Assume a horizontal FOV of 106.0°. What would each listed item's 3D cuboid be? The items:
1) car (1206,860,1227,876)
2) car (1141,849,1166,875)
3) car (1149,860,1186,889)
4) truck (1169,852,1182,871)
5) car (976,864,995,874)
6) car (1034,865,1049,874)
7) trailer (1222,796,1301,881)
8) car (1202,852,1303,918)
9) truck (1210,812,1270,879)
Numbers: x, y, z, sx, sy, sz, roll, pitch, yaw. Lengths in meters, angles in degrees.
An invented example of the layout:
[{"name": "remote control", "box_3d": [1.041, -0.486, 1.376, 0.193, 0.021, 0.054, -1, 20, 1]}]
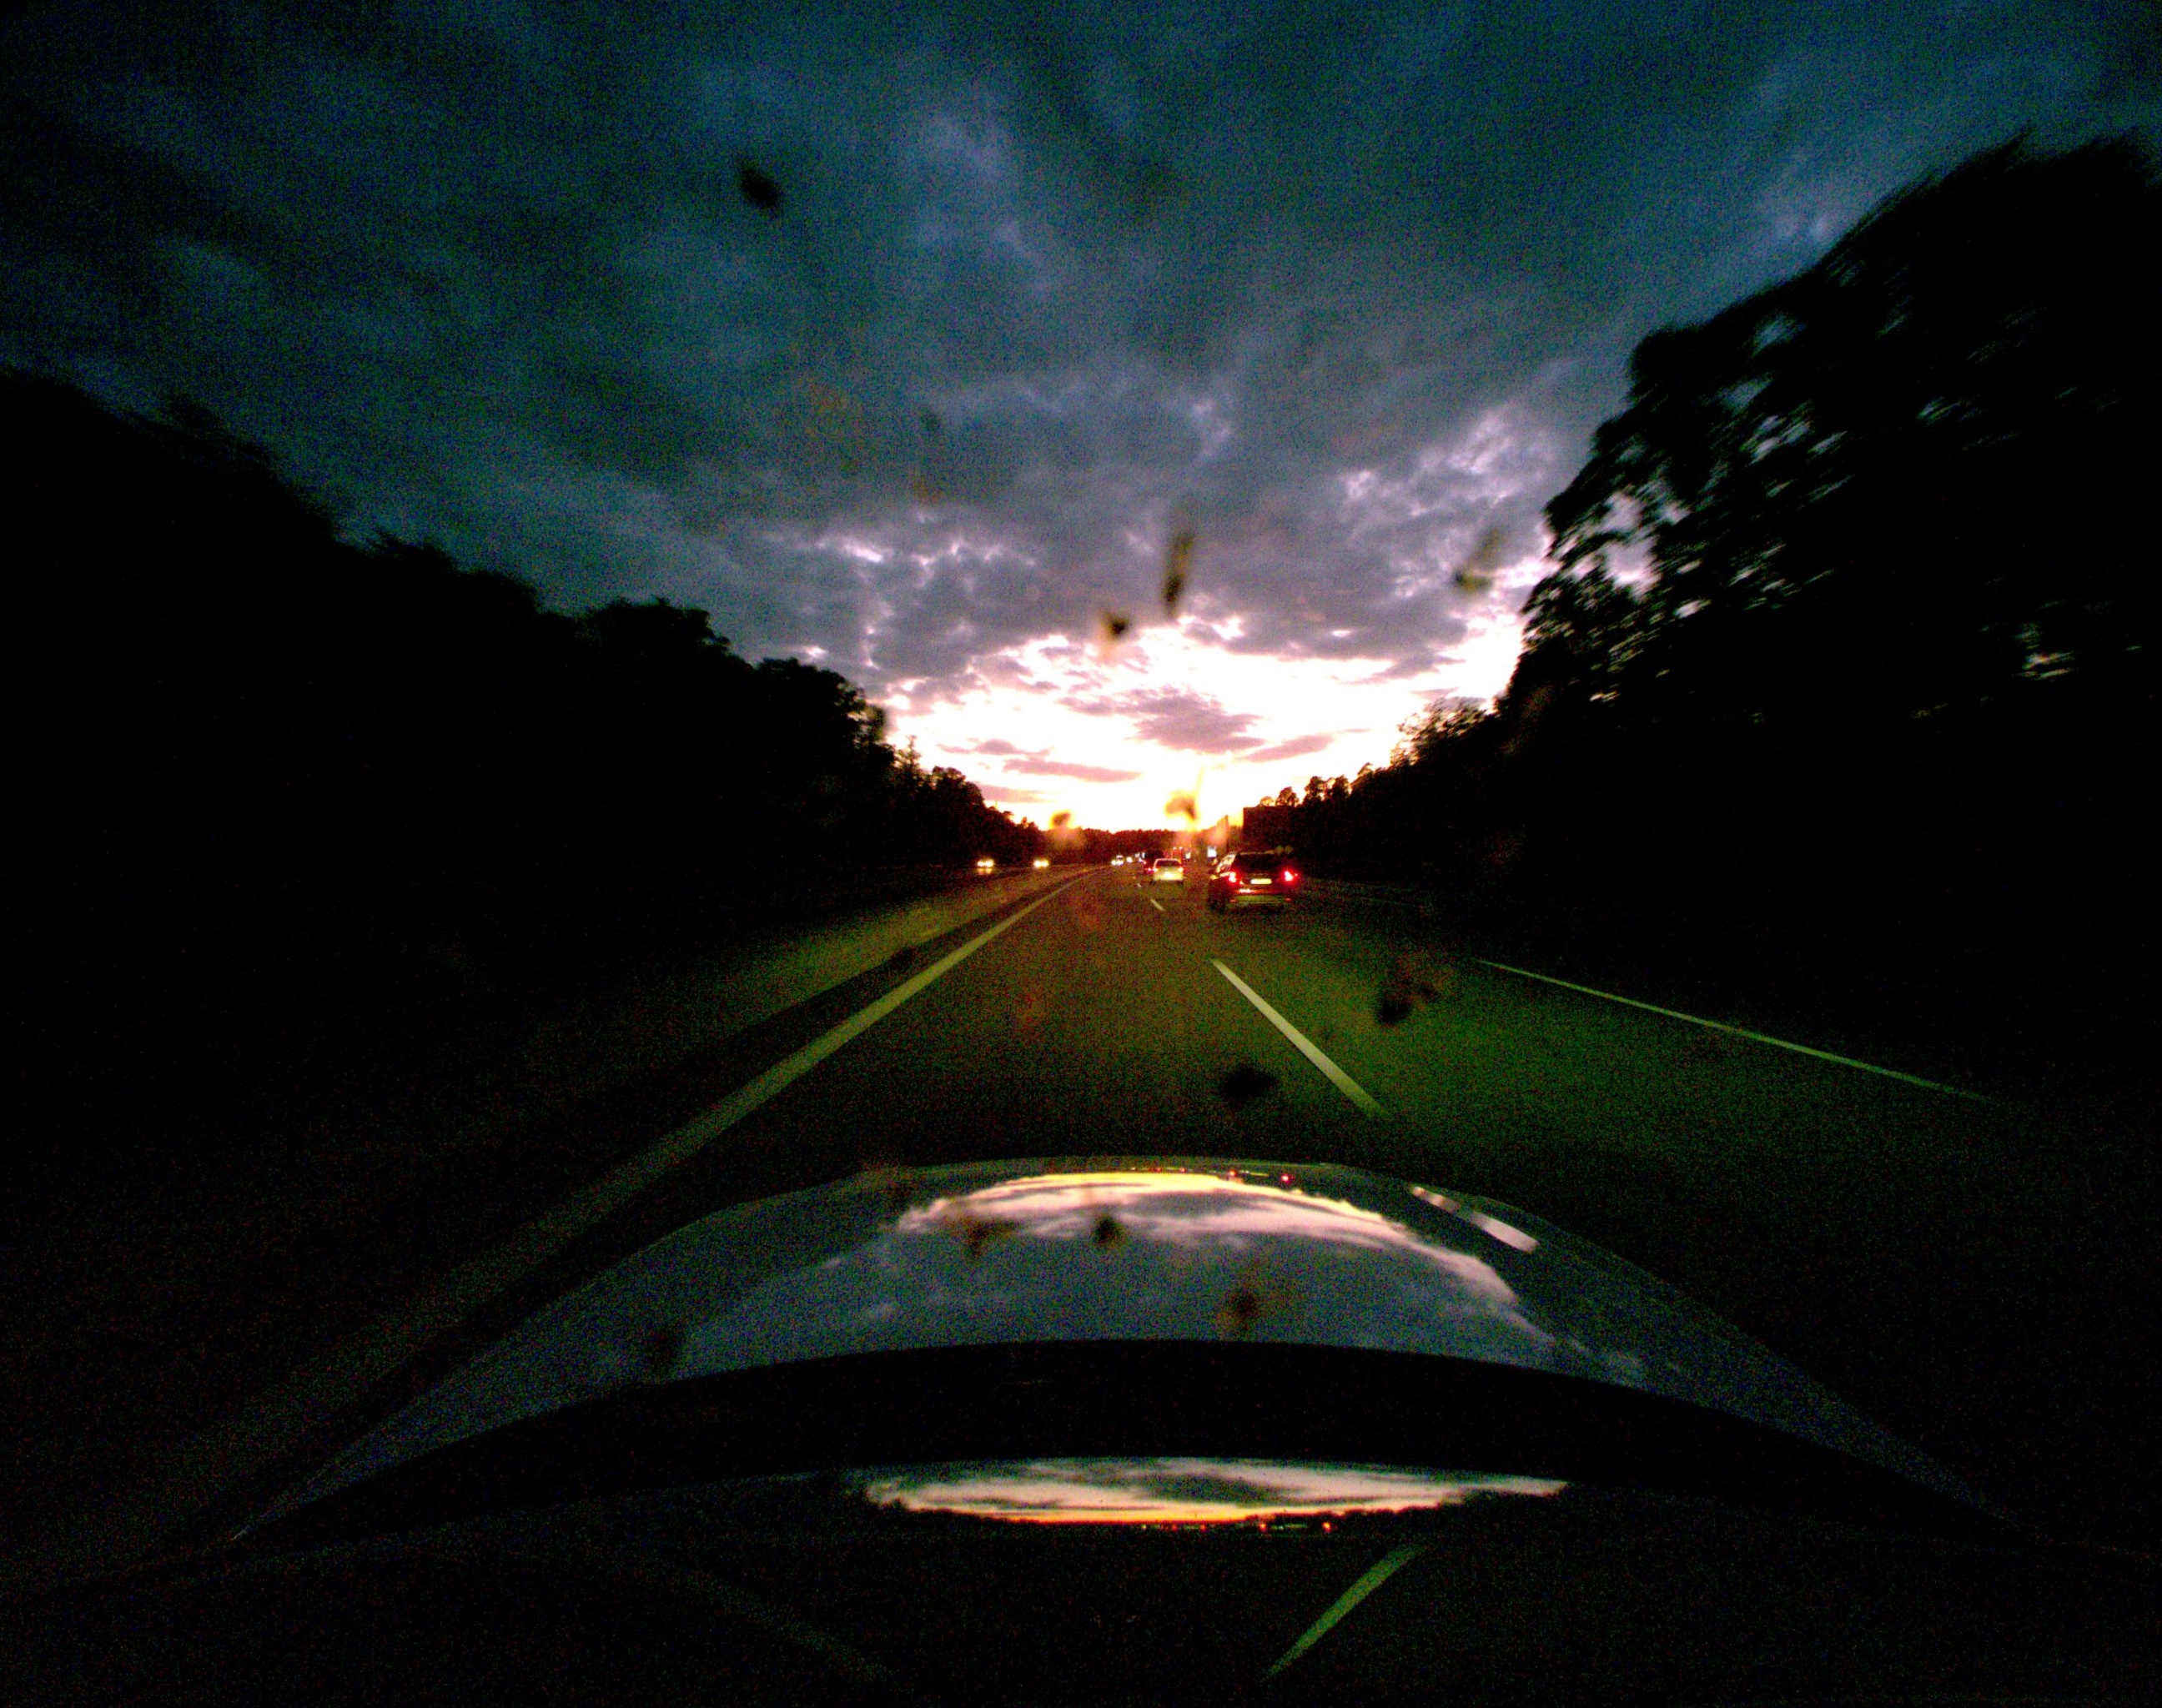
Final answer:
[{"name": "car", "box_3d": [13.718, 1.421, 82.704, 1.996, 1.538, 4.009, -1, -1, 8]}, {"name": "car", "box_3d": [7.110, 0.836, 79.309, 2.153, 2.419, 5.576, -1, -1, 8]}, {"name": "car", "box_3d": [4.777, 1.101, 45.435, 1.852, 1.442, 3.723, -1, 1, 2]}, {"name": "truck", "box_3d": [29.635, 2.485, 255.369, 4.128, 5.857, 14.321, -1, -1, 7]}, {"name": "car", "box_3d": [-15.020, 2.328, 128.021, 1.831, 1.463, 4.011, 1, 0, 10]}, {"name": "car", "box_3d": [-6.820, 2.609, 140.527, 1.833, 1.463, 4.783, 1, 0, 5]}, {"name": "trailer", "box_3d": [9.697, -0.650, 44.862, 2.893, 4.101, 10.371, -1, -1, 5]}, {"name": "car", "box_3d": [4.701, 0.803, 23.118, 1.896, 1.643, 5.053, -1, 0, 1]}, {"name": "truck", "box_3d": [10.616, -0.413, 55.394, 2.871, 4.101, 10.846, -1, -1, 5]}]
